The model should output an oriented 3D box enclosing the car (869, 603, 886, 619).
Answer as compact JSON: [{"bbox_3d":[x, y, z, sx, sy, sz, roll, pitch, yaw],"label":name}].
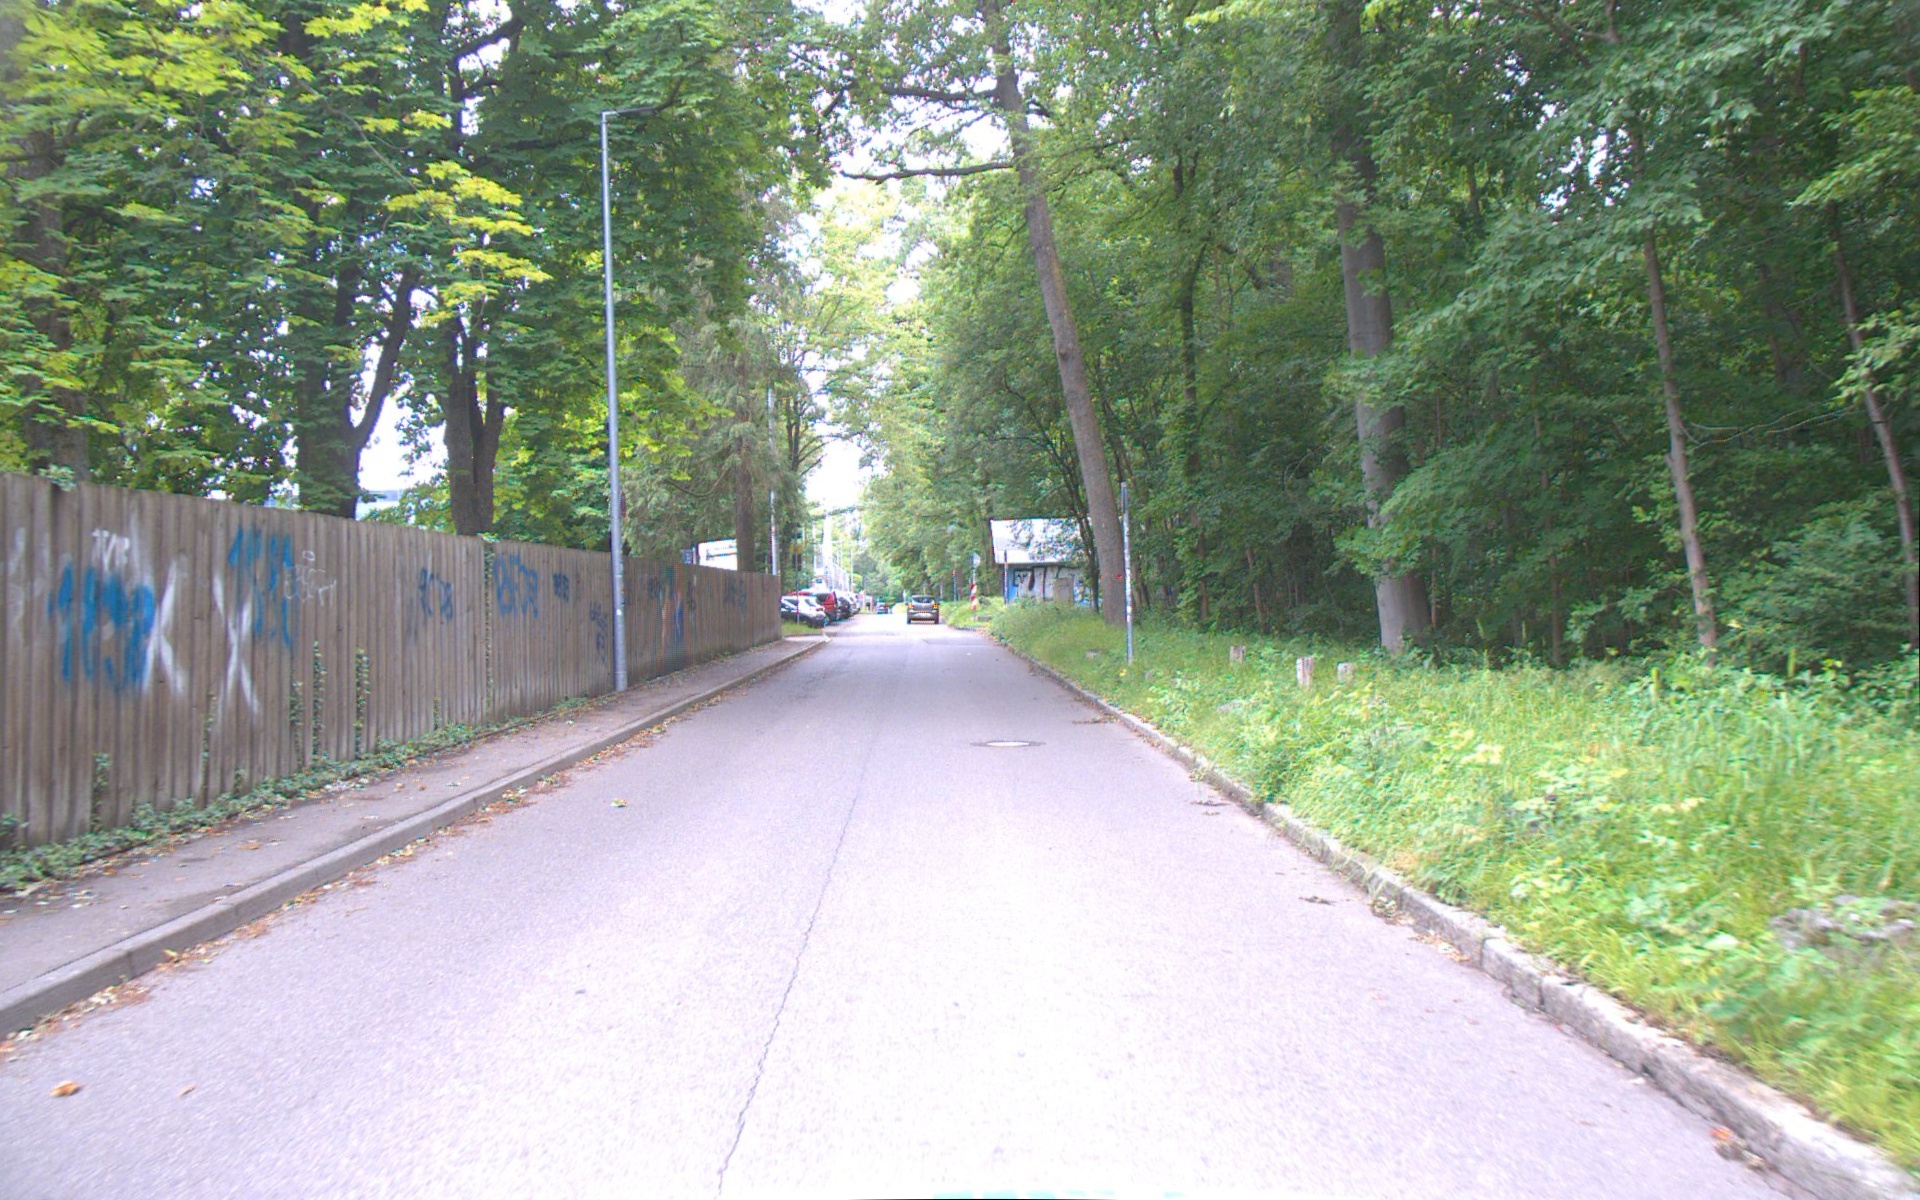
[{"bbox_3d":[-11.387,1.544,228.089,1.956,2.049,3.994,-2,0,-7],"label":"car"}]

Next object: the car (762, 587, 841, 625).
[{"bbox_3d":[-8.214,0.312,85.866,3.906,1.780,1.999,-2,0,-2],"label":"car"}]

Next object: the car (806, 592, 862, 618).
[{"bbox_3d":[-9.162,0.384,120.668,3.907,1.623,1.764,-4,-1,-2],"label":"car"}]

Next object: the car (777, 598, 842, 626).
[{"bbox_3d":[-8.543,0.691,93.969,3.500,1.432,1.649,-2,-1,-2],"label":"car"}]

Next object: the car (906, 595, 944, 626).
[{"bbox_3d":[-1.781,0.557,85.343,1.869,1.534,3.999,1,-1,0],"label":"car"}]

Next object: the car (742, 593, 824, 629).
[{"bbox_3d":[-8.605,0.513,80.641,3.910,1.601,1.998,-2,0,-5],"label":"car"}]
